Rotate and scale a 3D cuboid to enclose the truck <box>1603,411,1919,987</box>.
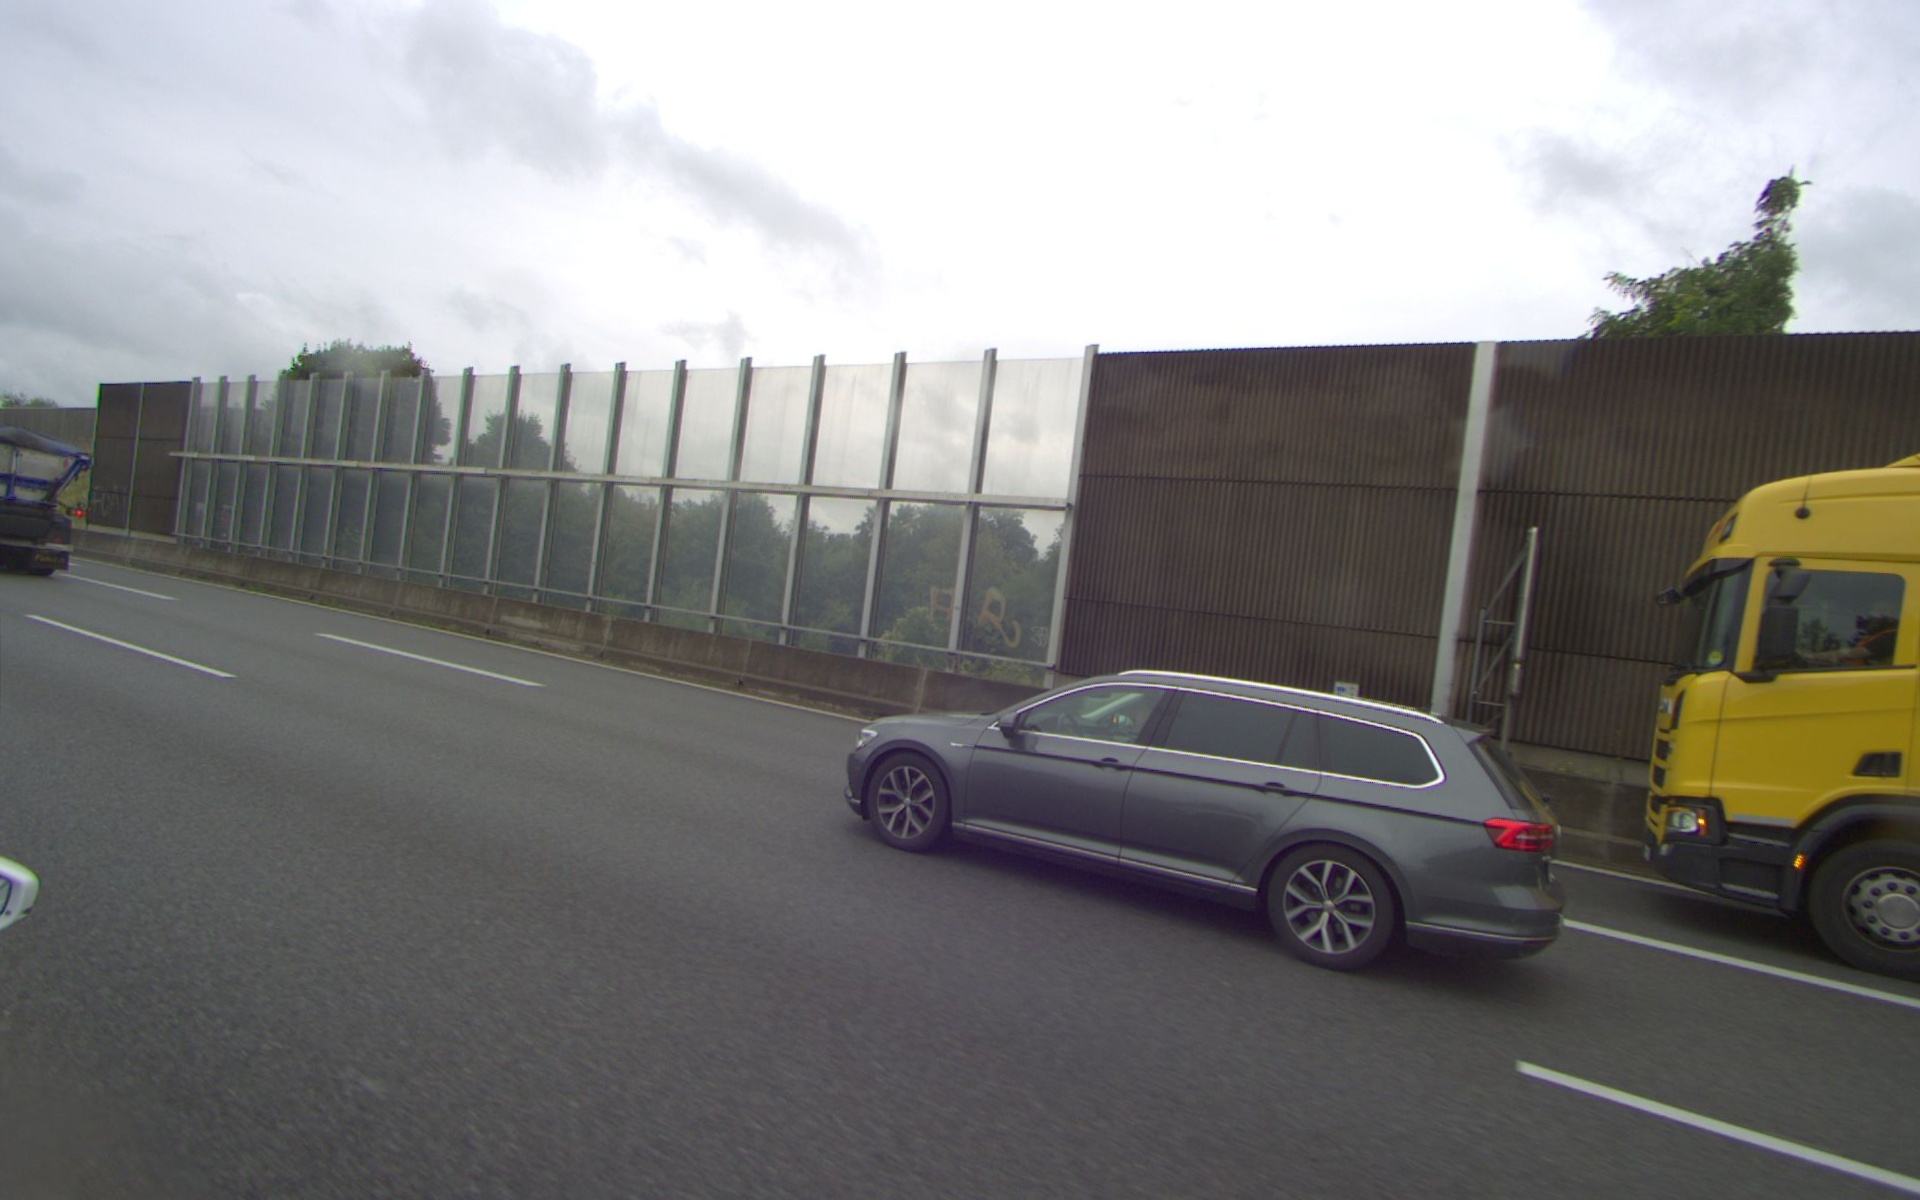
[{"bbox_3d":[9.986,1.100,6.644,9.169,4.003,2.692,7,-2,30],"label":"truck"}]

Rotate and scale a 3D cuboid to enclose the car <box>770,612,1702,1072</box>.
[{"bbox_3d":[1.440,1.179,6.588,5.201,1.443,1.944,7,-2,32],"label":"car"}]

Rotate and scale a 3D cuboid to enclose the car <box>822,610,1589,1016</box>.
[{"bbox_3d":[1.420,1.103,6.592,4.396,1.473,1.667,6,-2,31],"label":"car"}]

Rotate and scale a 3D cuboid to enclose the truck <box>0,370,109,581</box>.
[{"bbox_3d":[-24.073,-3.077,23.312,12.505,3.999,2.816,6,0,32],"label":"truck"}]
